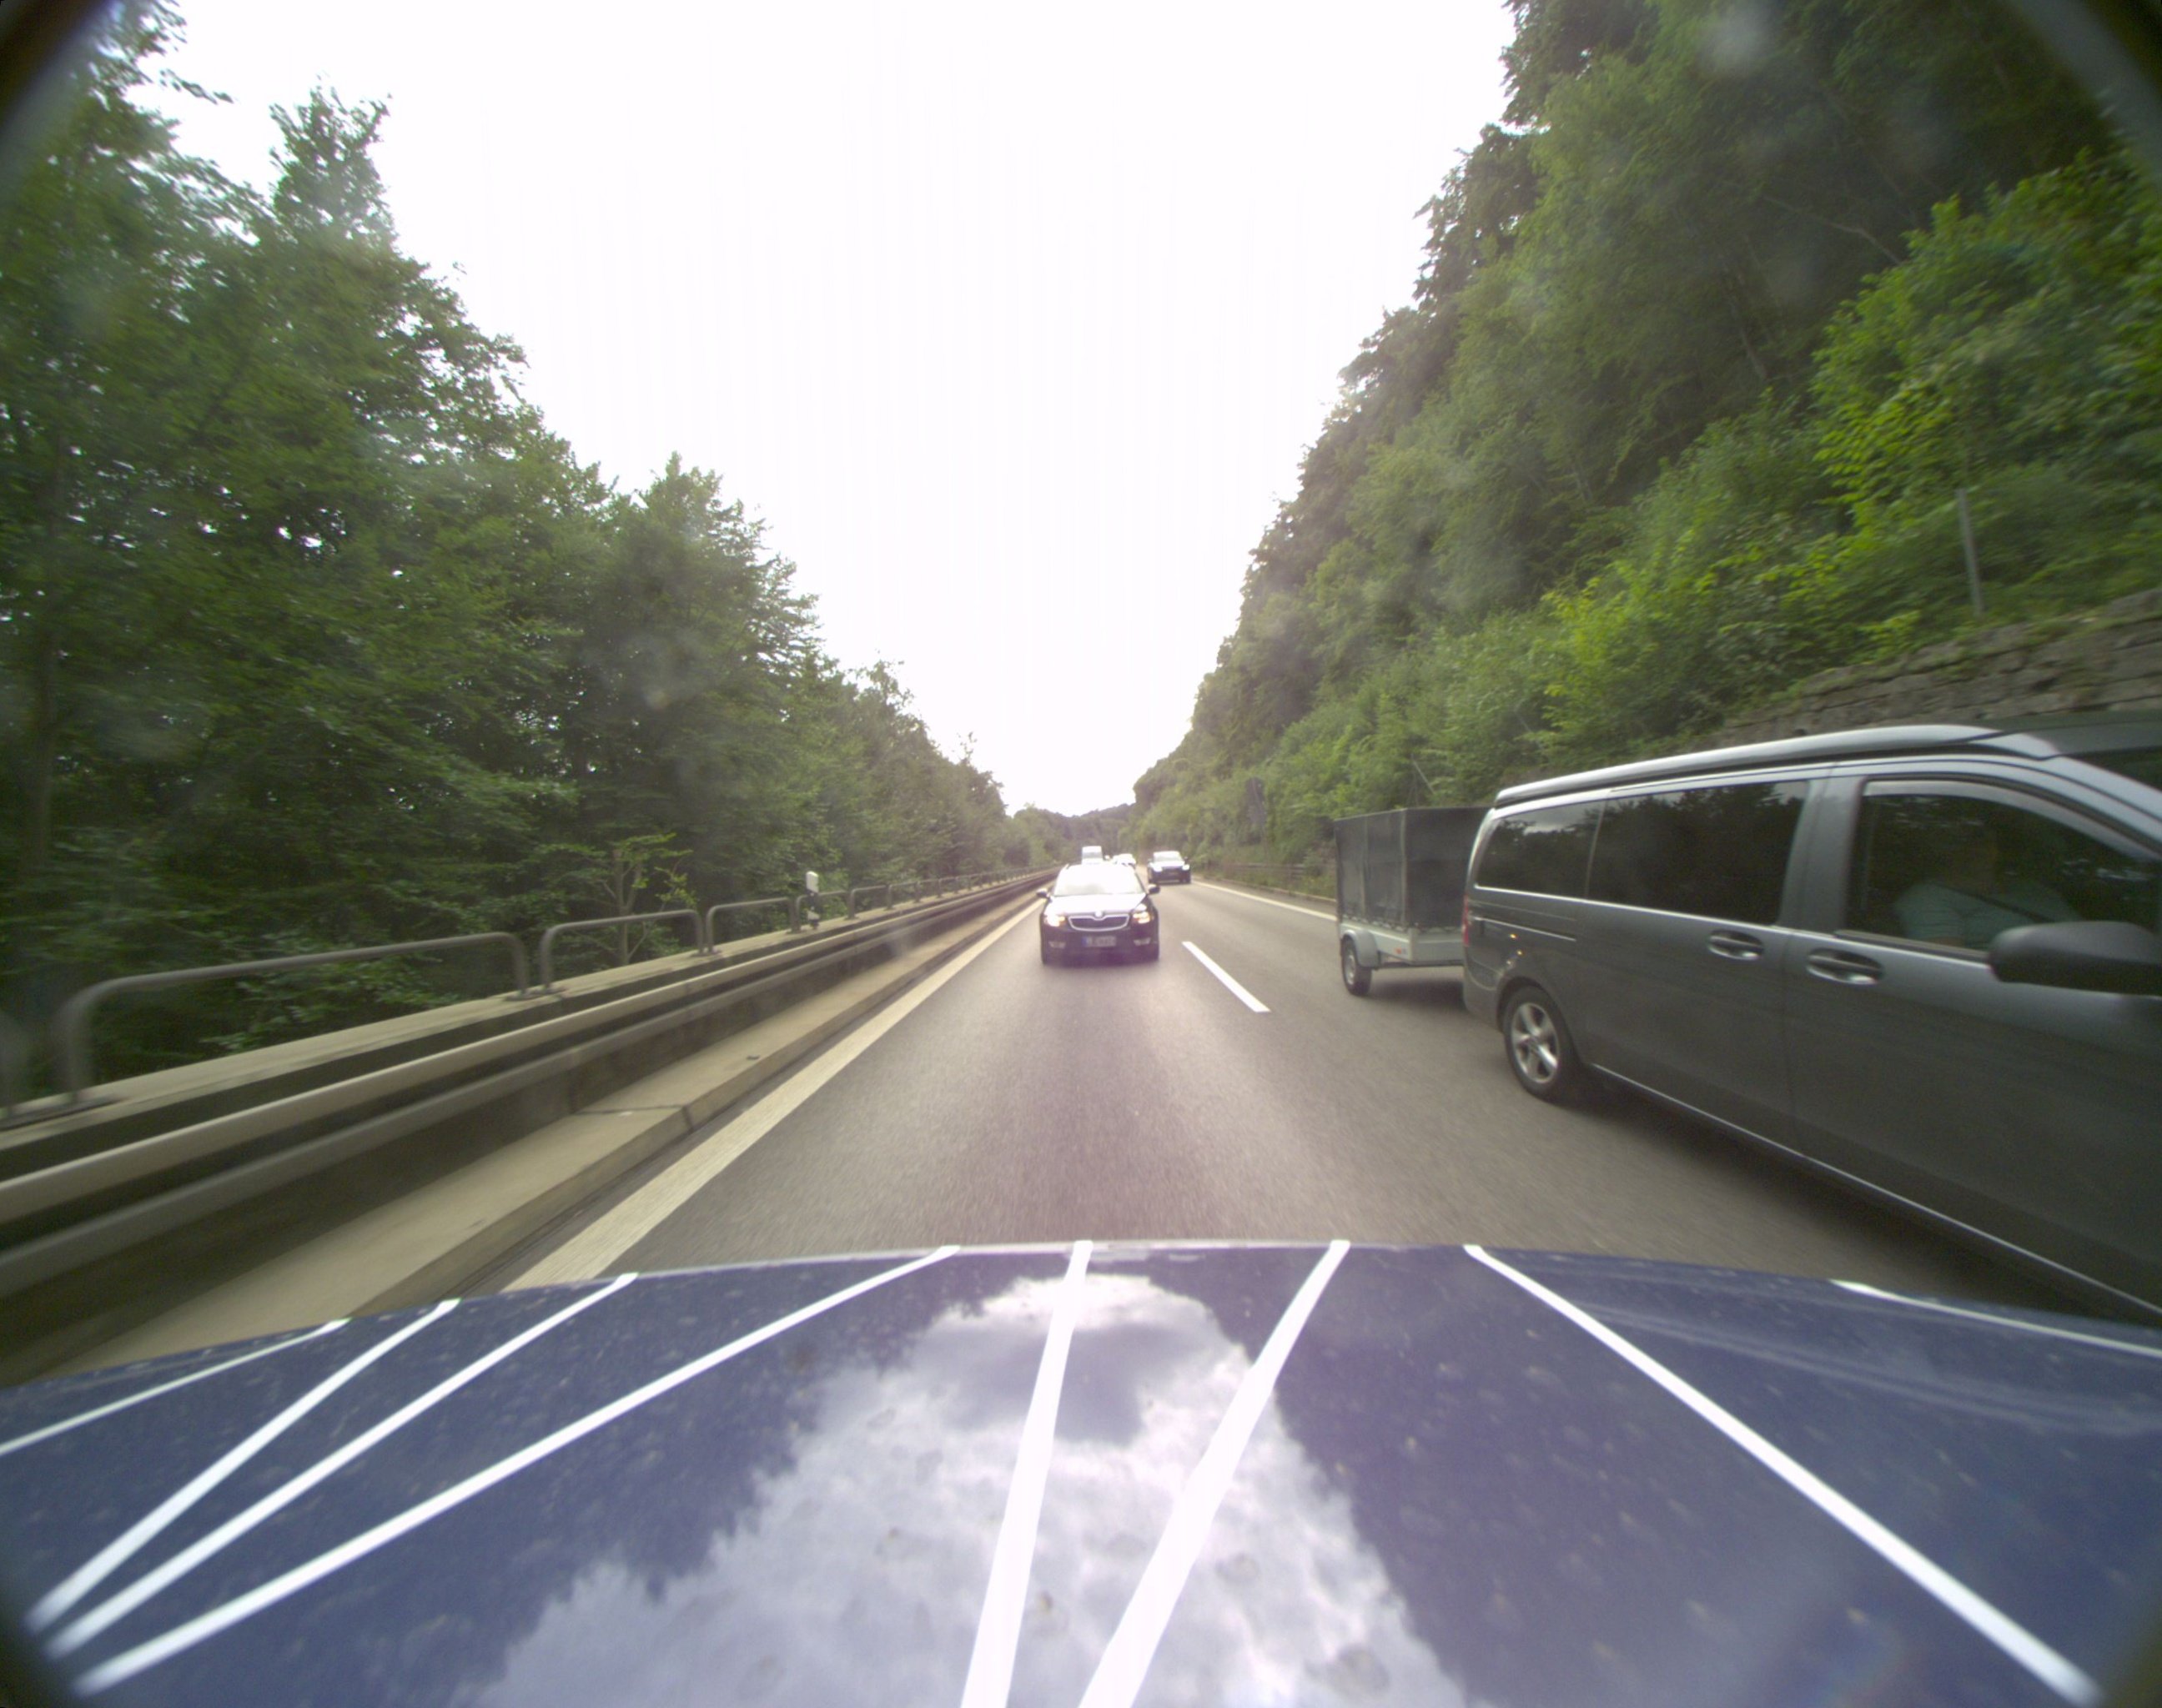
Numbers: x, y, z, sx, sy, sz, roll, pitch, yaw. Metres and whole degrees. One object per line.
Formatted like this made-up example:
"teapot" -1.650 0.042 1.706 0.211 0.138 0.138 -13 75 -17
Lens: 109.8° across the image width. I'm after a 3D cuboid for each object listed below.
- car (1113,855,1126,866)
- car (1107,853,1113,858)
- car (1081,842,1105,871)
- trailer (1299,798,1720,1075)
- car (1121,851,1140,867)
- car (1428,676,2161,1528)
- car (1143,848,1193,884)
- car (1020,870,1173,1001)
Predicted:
"car" 5.903 0.998 115.840 1.823 1.546 4.001 -1 -1 1
"car" 9.570 0.569 247.227 1.823 1.546 4.002 -1 -1 3
"car" 1.163 0.318 70.599 2.099 2.547 5.921 -1 -1 2
"trailer" 3.544 0.594 7.118 1.976 1.928 3.430 -1 0 0
"car" 5.214 0.560 80.769 1.823 1.546 4.001 -1 -1 2
"car" 3.522 0.571 2.708 1.998 2.002 5.540 -1 0 0
"car" 4.438 0.577 39.593 1.976 1.584 5.585 -3 1 1
"car" 0.228 0.972 10.851 1.638 1.384 4.500 -4 -1 1
